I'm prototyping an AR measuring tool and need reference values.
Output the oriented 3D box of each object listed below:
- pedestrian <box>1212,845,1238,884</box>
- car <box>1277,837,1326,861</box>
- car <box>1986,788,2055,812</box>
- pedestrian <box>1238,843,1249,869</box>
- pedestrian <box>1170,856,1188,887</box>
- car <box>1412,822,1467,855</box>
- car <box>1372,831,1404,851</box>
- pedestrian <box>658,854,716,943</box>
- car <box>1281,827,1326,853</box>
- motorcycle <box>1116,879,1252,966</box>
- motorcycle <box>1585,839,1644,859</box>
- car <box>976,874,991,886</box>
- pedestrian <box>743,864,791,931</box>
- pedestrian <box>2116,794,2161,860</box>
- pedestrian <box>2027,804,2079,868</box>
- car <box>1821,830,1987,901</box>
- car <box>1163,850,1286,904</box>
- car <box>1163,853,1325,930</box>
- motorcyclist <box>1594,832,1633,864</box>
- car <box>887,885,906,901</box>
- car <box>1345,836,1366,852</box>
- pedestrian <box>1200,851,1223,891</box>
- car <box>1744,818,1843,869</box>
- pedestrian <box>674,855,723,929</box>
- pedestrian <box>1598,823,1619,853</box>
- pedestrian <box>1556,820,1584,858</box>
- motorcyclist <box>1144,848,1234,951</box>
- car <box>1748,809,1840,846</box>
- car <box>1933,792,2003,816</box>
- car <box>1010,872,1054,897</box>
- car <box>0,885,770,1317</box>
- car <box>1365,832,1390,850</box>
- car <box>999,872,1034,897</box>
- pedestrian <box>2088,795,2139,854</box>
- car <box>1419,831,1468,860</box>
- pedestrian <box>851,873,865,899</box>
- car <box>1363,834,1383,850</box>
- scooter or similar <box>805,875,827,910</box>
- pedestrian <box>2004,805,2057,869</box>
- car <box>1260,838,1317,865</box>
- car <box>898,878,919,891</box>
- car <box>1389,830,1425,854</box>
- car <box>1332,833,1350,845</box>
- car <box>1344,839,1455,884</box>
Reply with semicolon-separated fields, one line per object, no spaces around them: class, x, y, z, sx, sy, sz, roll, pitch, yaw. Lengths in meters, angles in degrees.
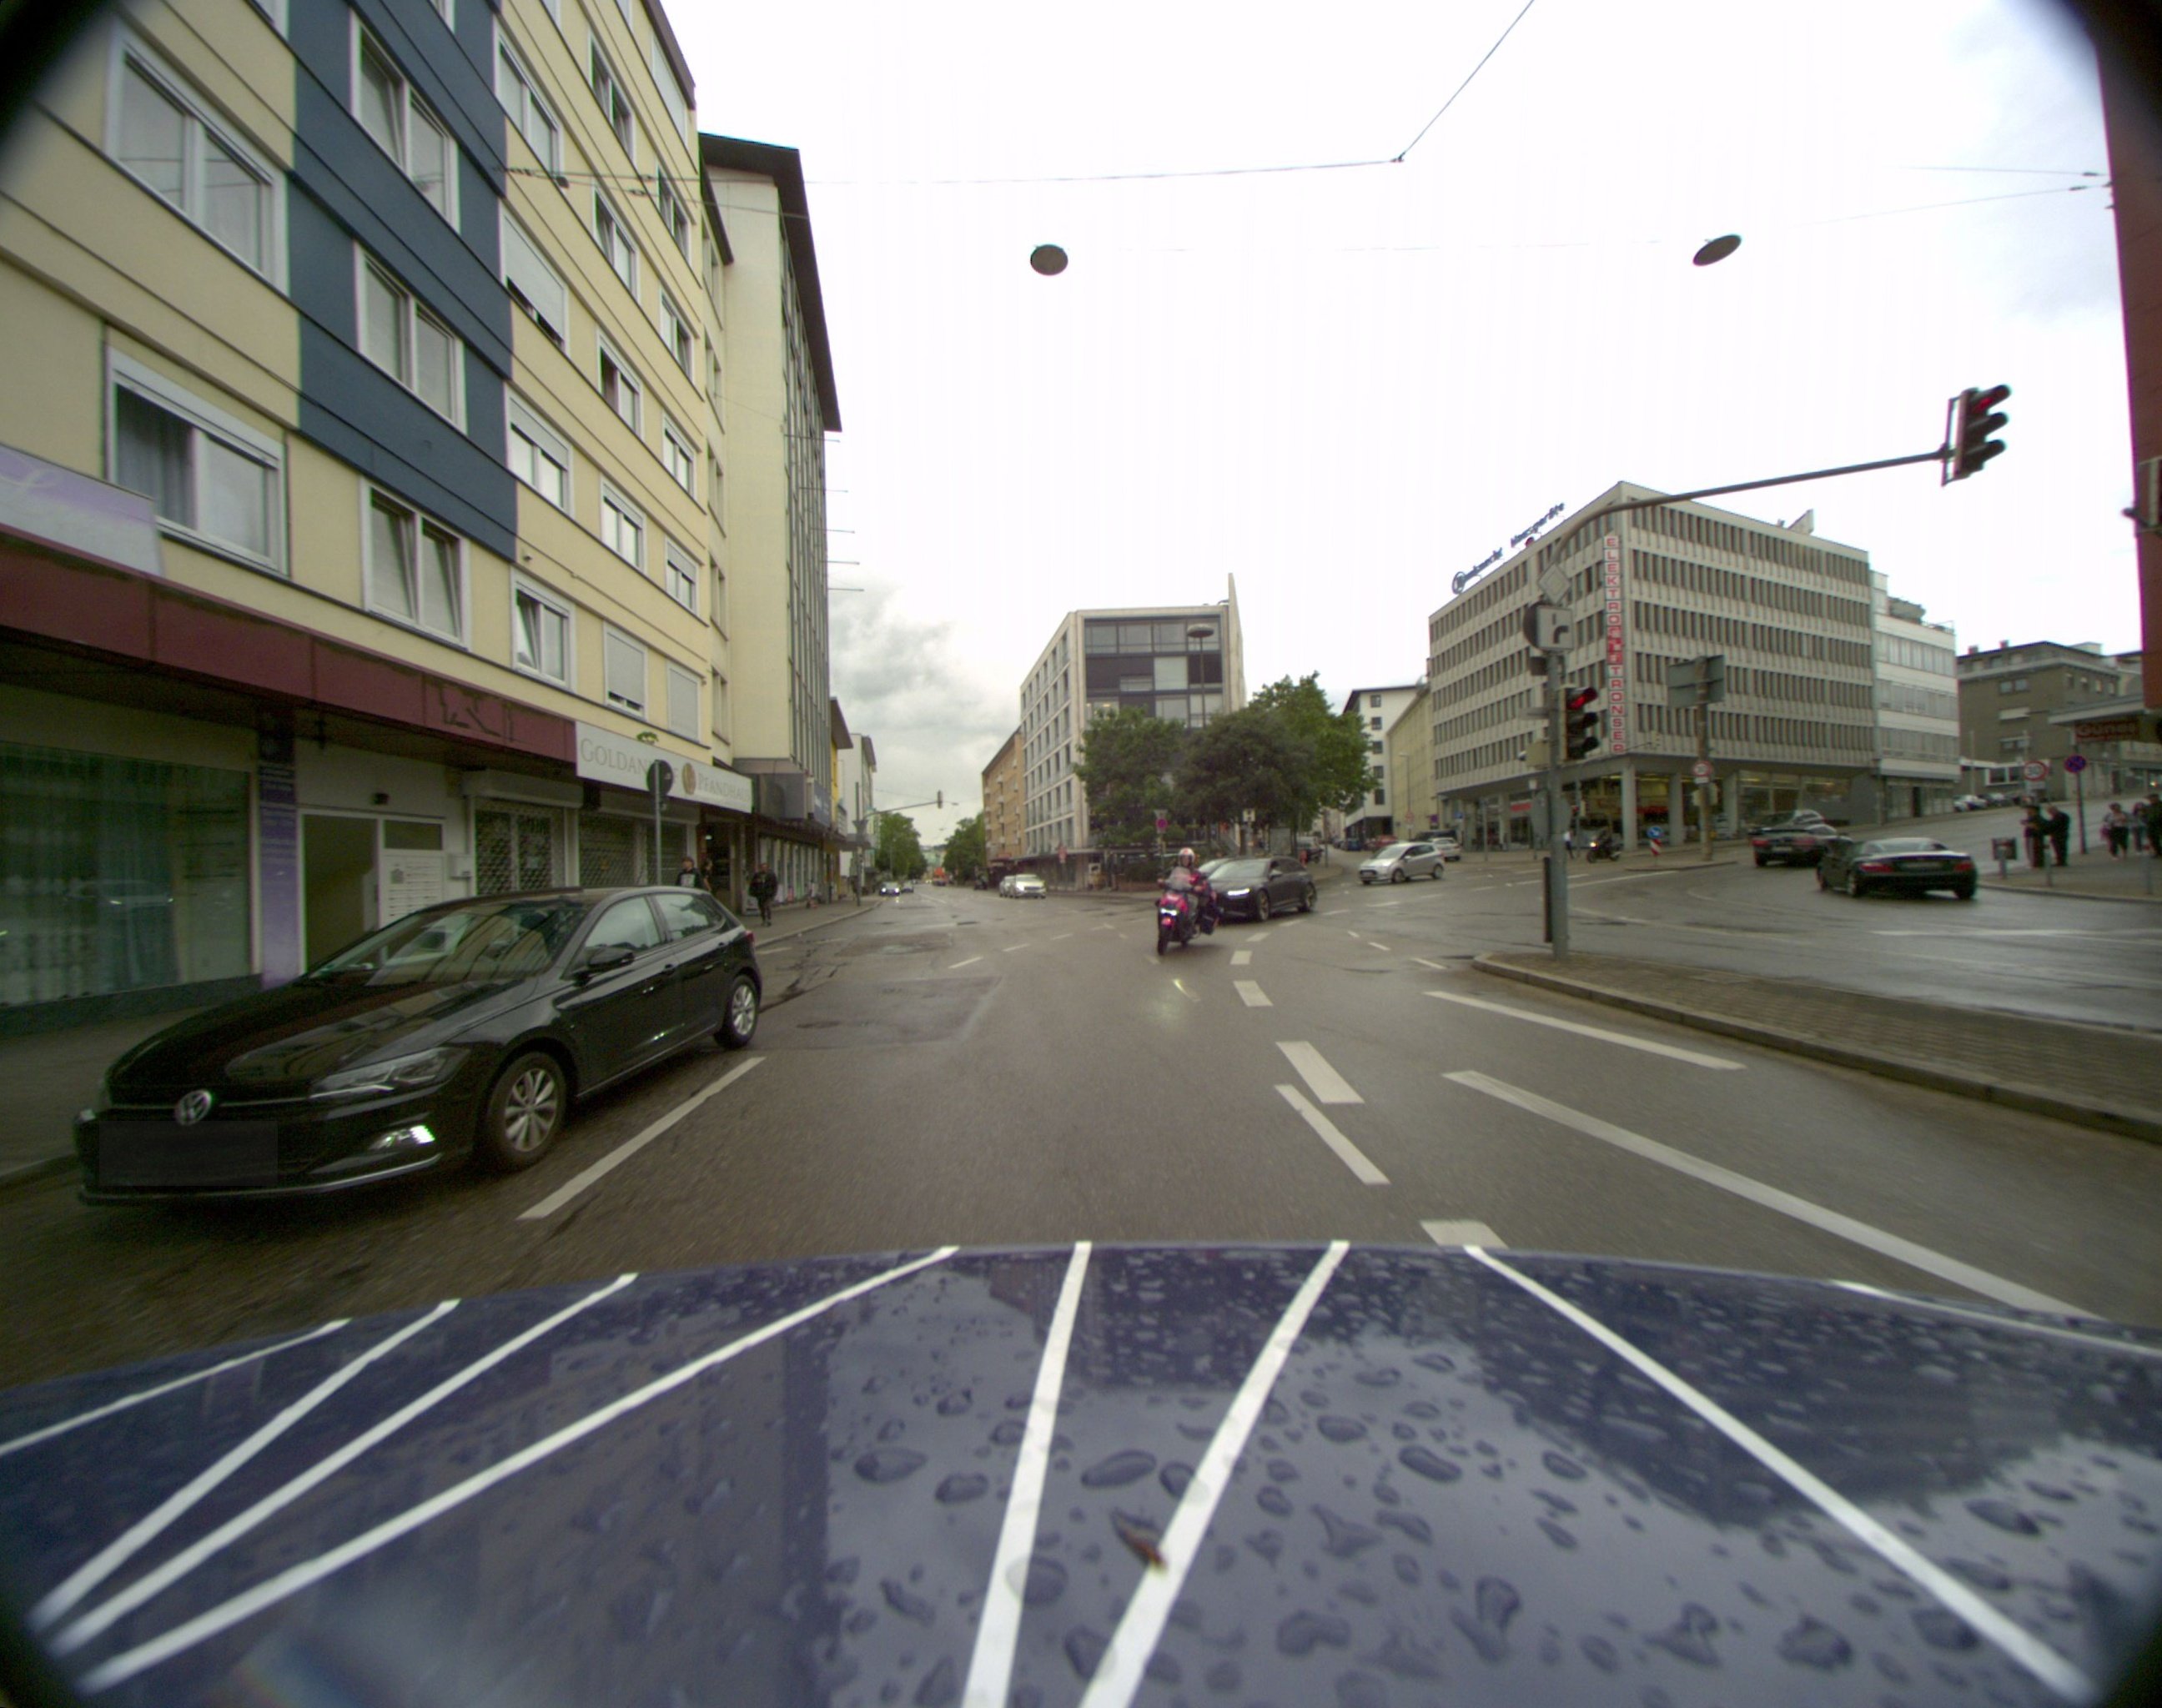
pedestrian;6.913;0.512;36.479;0.783;1.739;0.788;-8;-1;-9
car;17.327;-0.420;59.727;3.540;1.550;1.742;-4;1;16
car;93.170;-5.330;75.392;2.003;2.002;3.991;-4;0;-30
pedestrian;11.737;0.139;54.753;0.592;1.802;0.705;-5;-1;16
pedestrian;5.948;1.053;46.210;0.789;1.802;0.593;-4;-1;-9
car;25.410;-1.038;54.060;2.095;2.078;4.617;-4;-1;8
car;28.077;-1.175;69.536;1.931;1.662;4.450;-4;-1;13
pedestrian;-7.955;0.896;15.370;0.838;1.753;0.617;1;-2;-9
car;22.348;-1.387;76.380;3.827;2.252;1.988;-4;1;33
motorcycle;1.734;1.067;12.471;1.310;1.129;2.189;-3;1;35
motorcycle;24.741;-0.229;35.253;2.396;0.837;0.712;-3;1;-10
car;-14.487;3.871;112.541;1.828;1.564;3.997;-4;-1;-11
pedestrian;-8.408;1.167;20.367;0.752;1.712;0.754;-4;0;20
pedestrian;29.713;-0.761;21.186;0.695;1.736;0.732;-4;-3;-26
pedestrian;27.602;-0.495;21.584;0.700;1.737;0.732;-4;0;-30
car;18.466;0.220;17.273;1.793;1.353;4.068;-4;0;37
car;5.070;0.786;26.667;4.110;1.538;1.868;-4;0;-36
car;4.129;0.832;18.577;1.995;1.482;4.743;-3;0;37
motorcyclist;24.713;-0.281;35.256;1.114;1.434;0.910;-3;1;-11
car;-19.448;4.080;79.866;1.786;1.444;3.996;-4;-1;-14
car;34.495;-1.266;95.678;2.024;1.830;4.049;-4;-1;15
pedestrian;6.225;0.824;36.361;0.593;1.863;0.788;-8;-1;-9
car;25.878;-0.395;27.556;4.385;1.542;1.995;-4;-1;-40
pedestrian;-9.502;0.931;18.891;0.616;1.752;0.790;-4;0;20
pedestrian;29.404;-0.908;42.363;0.713;1.613;0.725;-3;1;18
pedestrian;26.557;-0.831;41.272;0.993;2.002;0.948;-3;1;14
motorcyclist;1.802;0.745;12.615;1.090;1.595;0.955;-3;0;34
car;37.957;-1.427;40.473;4.003;1.673;1.997;-4;1;-21
car;83.166;-4.668;71.309;1.750;1.945;3.991;-4;0;-32
car;-2.983;1.784;45.381;1.975;1.379;3.996;0;-1;-13
car;-3.743;1.064;4.917;1.742;1.422;3.879;-2;1;1
car;35.741;-1.537;91.688;2.024;1.981;4.432;-4;-1;13
car;-4.525;2.097;52.725;1.811;1.489;3.996;-4;-1;-13
pedestrian;29.557;-0.835;21.757;0.734;1.620;0.693;-4;0;-27
car;23.181;-0.529;48.760;1.999;1.621;4.619;-4;-1;15
pedestrian;-15.013;2.147;51.164;0.737;1.636;0.641;-4;0;-11
car;36.731;-1.480;95.679;1.747;1.784;3.671;-4;-1;13
scooter or similar;-11.114;1.606;31.851;0.377;1.352;1.148;-4;1;3
pedestrian;26.703;-0.477;21.369;0.744;1.737;0.732;-4;0;-30
car;14.247;-0.174;52.105;3.539;1.550;1.742;-4;1;19
car;-24.127;4.244;106.468;2.002;1.610;4.116;-3;1;-24
car;26.877;-0.974;62.788;2.024;1.739;4.619;-4;-1;15
car;41.272;-2.413;120.659;2.024;1.639;4.432;-4;-1;13
car;13.318;0.312;31.755;4.108;1.574;1.996;-4;-1;-26
